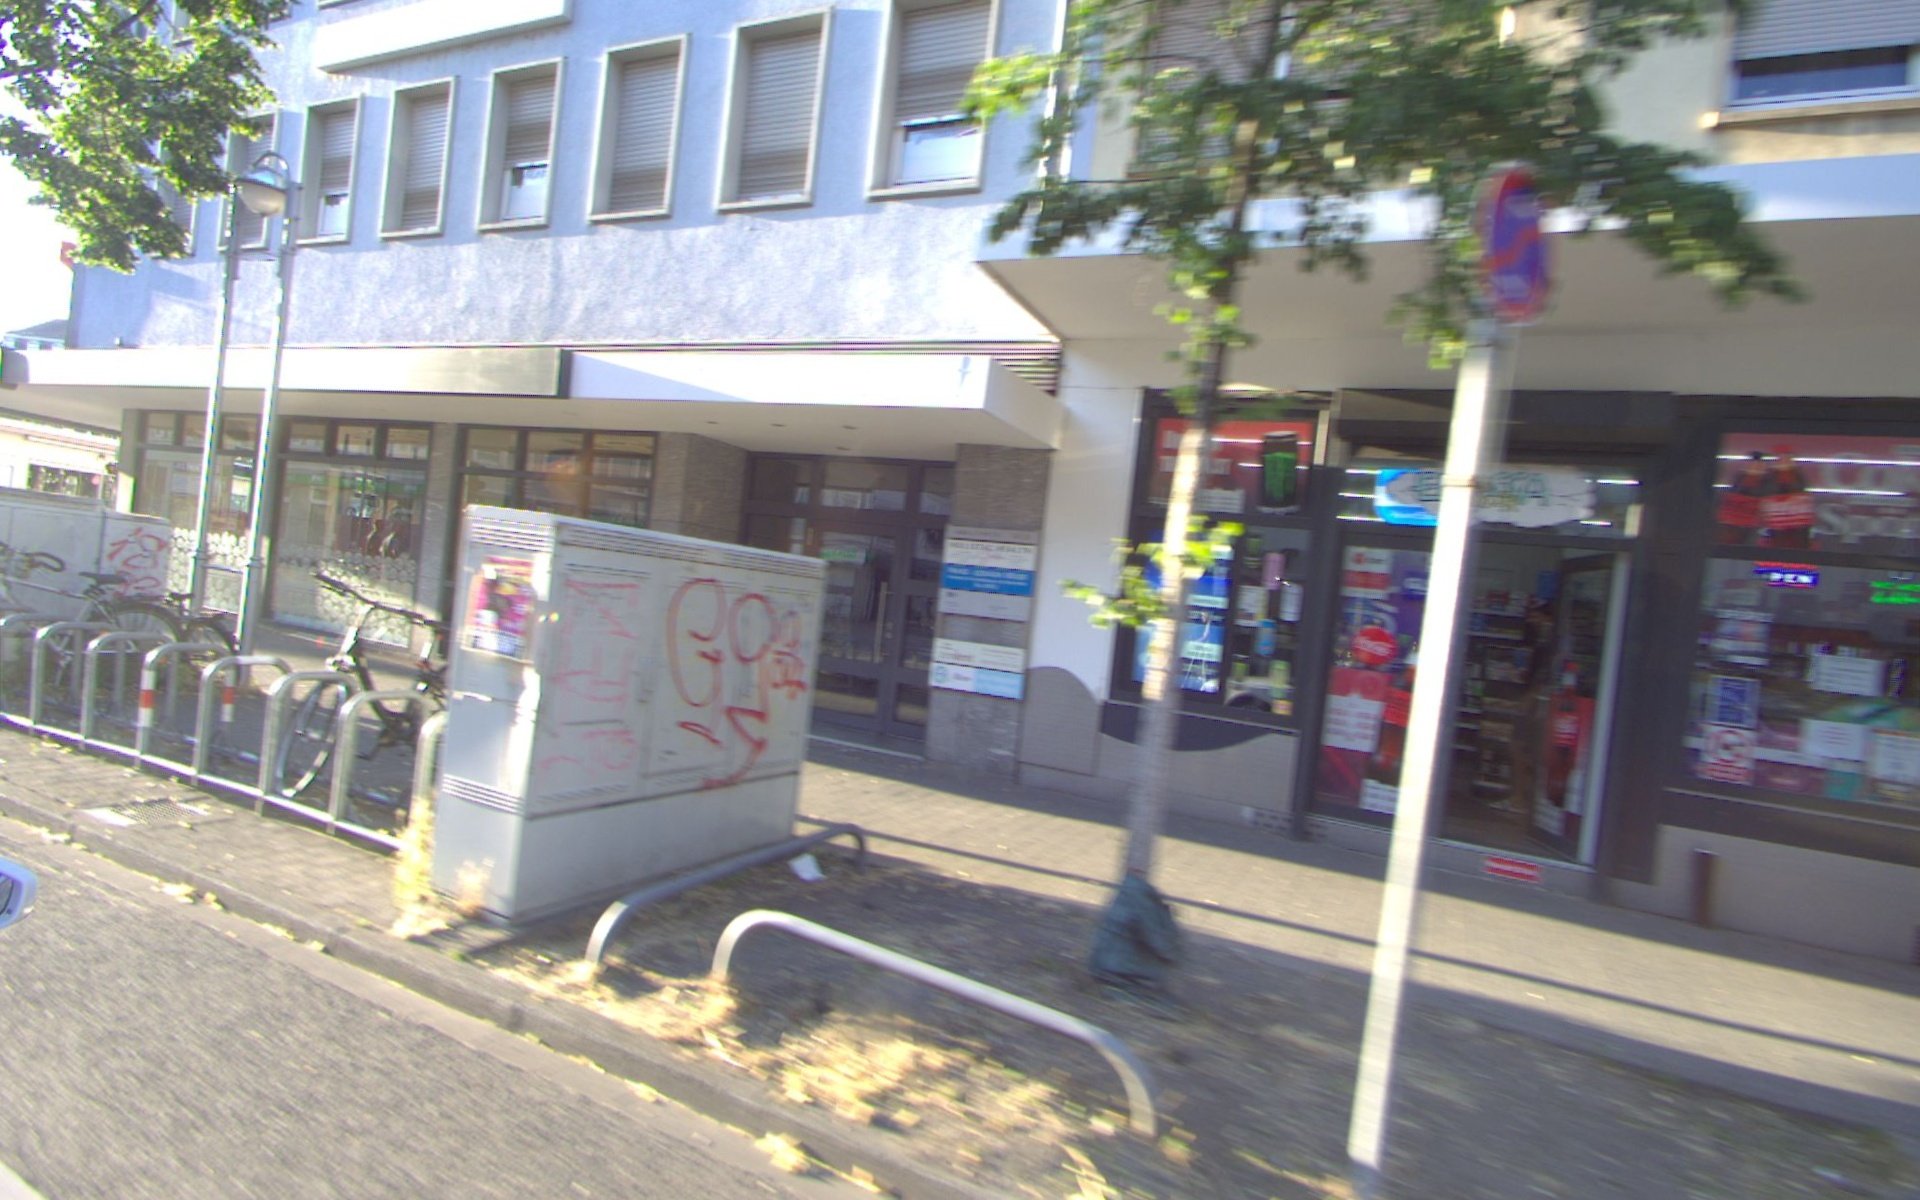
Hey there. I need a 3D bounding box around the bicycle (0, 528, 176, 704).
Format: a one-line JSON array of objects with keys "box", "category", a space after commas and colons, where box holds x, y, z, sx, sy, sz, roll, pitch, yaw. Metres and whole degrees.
[{"box": [-6.791, 0.110, 7.282, 0.468, 1.208, 1.662, 7, 0, 21], "category": "bicycle"}]

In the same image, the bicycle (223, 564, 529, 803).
[{"box": [-3.449, 0.475, 6.132, 0.484, 1.208, 1.663, 7, 0, 14], "category": "bicycle"}]

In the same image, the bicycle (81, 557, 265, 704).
[{"box": [-6.726, 0.239, 8.584, 1.639, 1.023, 0.404, 7, 2, 21], "category": "bicycle"}]
